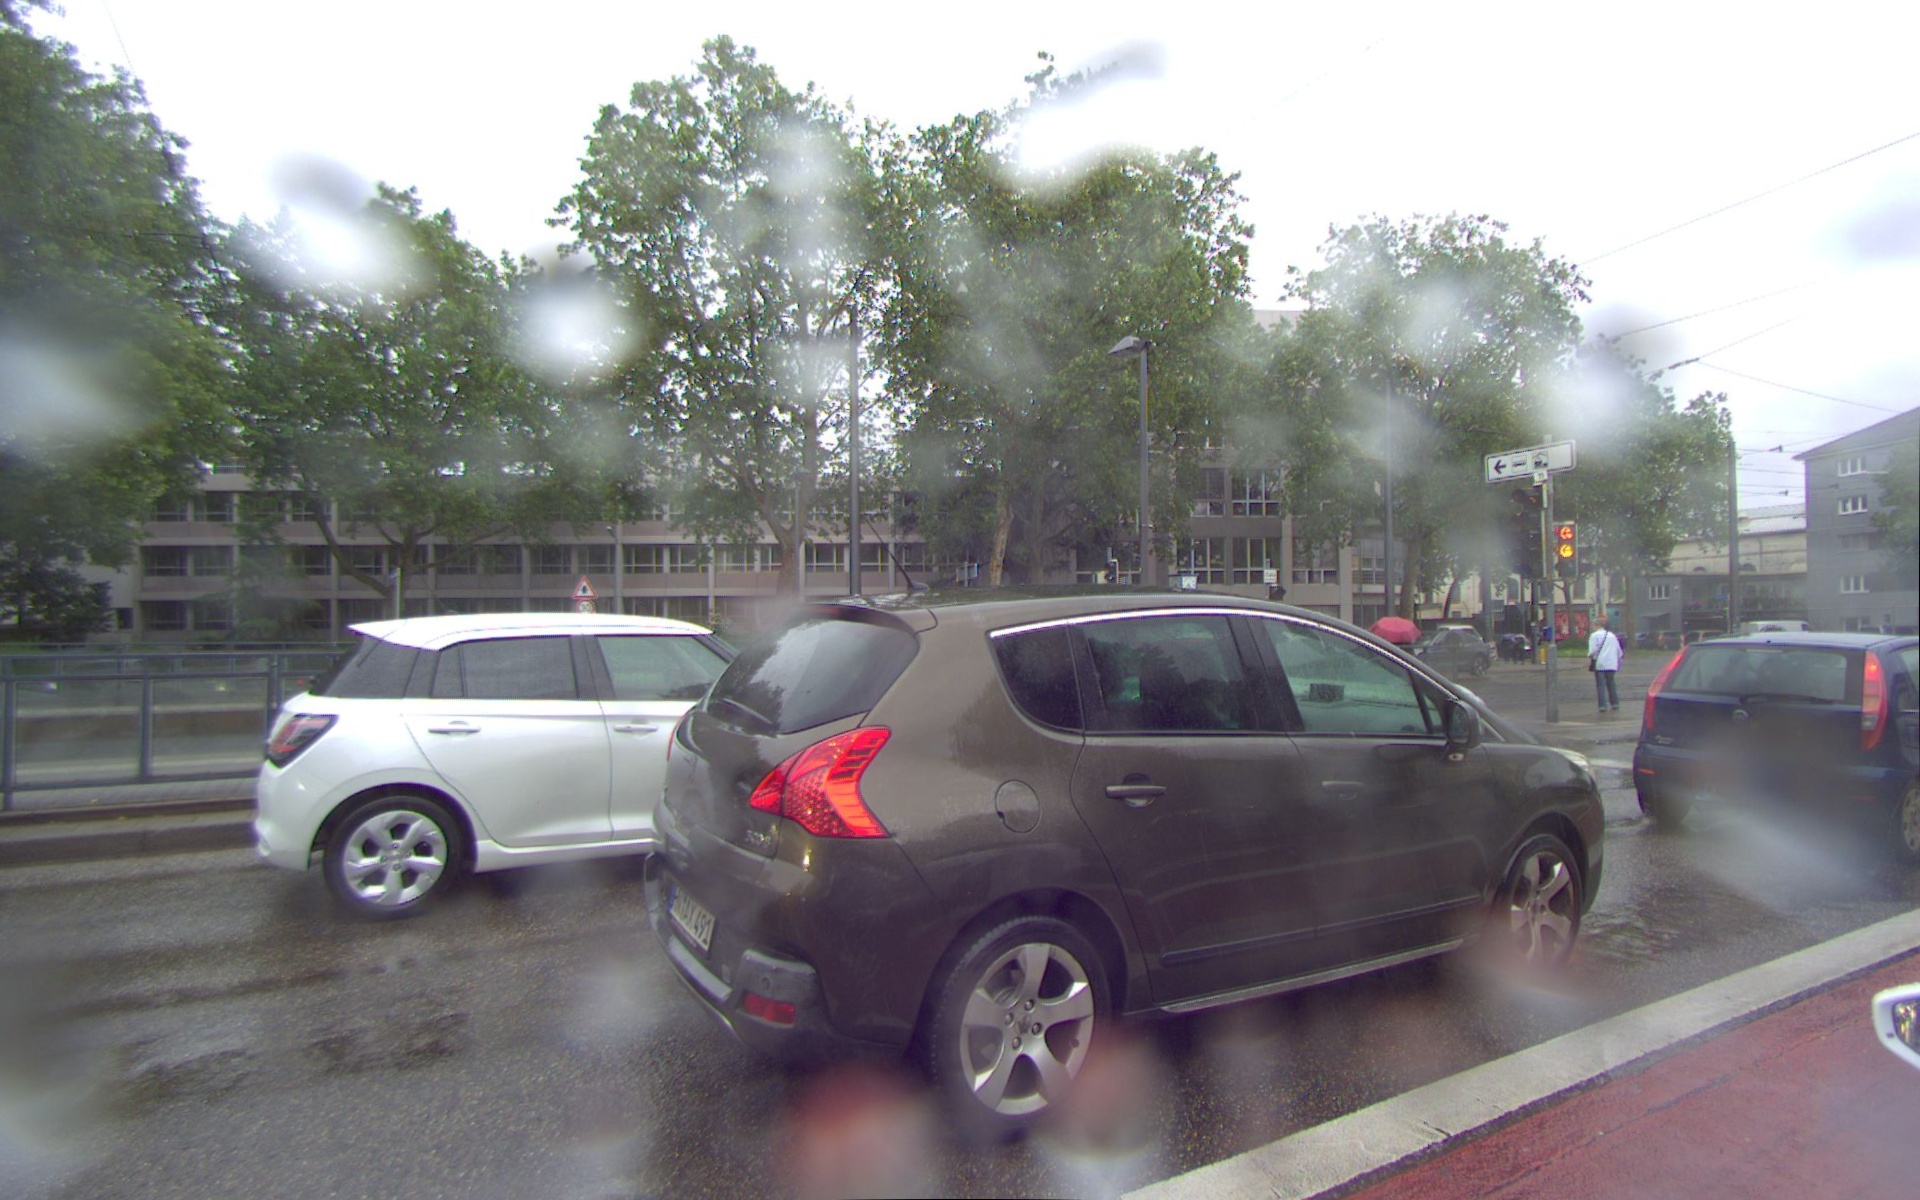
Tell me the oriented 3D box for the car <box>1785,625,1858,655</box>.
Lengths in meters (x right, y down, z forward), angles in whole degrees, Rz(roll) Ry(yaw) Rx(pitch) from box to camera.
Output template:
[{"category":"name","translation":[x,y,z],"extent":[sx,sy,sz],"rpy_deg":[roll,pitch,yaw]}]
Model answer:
[{"category":"car","translation":[60.959,2.807,71.071],"extent":[3.931,2.040,1.995],"rpy_deg":[0,-1,-13]}]

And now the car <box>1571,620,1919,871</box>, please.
[{"category":"car","translation":[6.776,0.940,7.795],"extent":[3.786,1.478,1.874],"rpy_deg":[2,-1,-29]}]

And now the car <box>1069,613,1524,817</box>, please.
[{"category":"car","translation":[3.239,0.916,9.519],"extent":[4.140,1.557,1.799],"rpy_deg":[0,-1,-29]}]

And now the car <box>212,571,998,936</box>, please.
[{"category":"car","translation":[-1.944,0.690,6.186],"extent":[4.022,1.608,1.794],"rpy_deg":[0,-1,-28]}]

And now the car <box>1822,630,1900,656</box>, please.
[{"category":"car","translation":[61.664,2.922,68.768],"extent":[3.930,1.647,1.952],"rpy_deg":[2,0,-11]}]

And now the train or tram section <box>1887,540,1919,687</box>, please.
[{"category":"train or tram section","translation":[30.379,0.322,22.580],"extent":[14.283,3.606,3.117],"rpy_deg":[0,0,14]}]

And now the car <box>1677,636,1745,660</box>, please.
[{"category":"car","translation":[59.058,3.772,79.054],"extent":[3.924,1.635,1.999],"rpy_deg":[2,-1,-5]}]

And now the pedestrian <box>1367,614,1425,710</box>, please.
[{"category":"pedestrian","translation":[8.041,1.126,18.578],"extent":[0.932,1.734,0.830],"rpy_deg":[-1,-1,22]}]

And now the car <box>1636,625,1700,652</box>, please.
[{"category":"car","translation":[58.814,3.213,83.483],"extent":[3.921,2.040,2.000],"rpy_deg":[2,0,0]}]

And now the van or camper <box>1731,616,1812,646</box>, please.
[{"category":"van or camper","translation":[59.590,2.275,73.779],"extent":[4.568,2.102,1.998],"rpy_deg":[1,-1,-7]}]

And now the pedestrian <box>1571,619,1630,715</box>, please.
[{"category":"pedestrian","translation":[11.258,1.159,17.674],"extent":[0.721,1.631,0.717],"rpy_deg":[-1,-1,22]}]

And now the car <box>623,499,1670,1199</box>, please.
[{"category":"car","translation":[0.899,0.632,4.192],"extent":[4.140,1.732,1.794],"rpy_deg":[0,0,-29]}]

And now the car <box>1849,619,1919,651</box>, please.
[{"category":"car","translation":[61.282,2.278,65.802],"extent":[4.310,2.040,2.068],"rpy_deg":[0,0,0]}]
